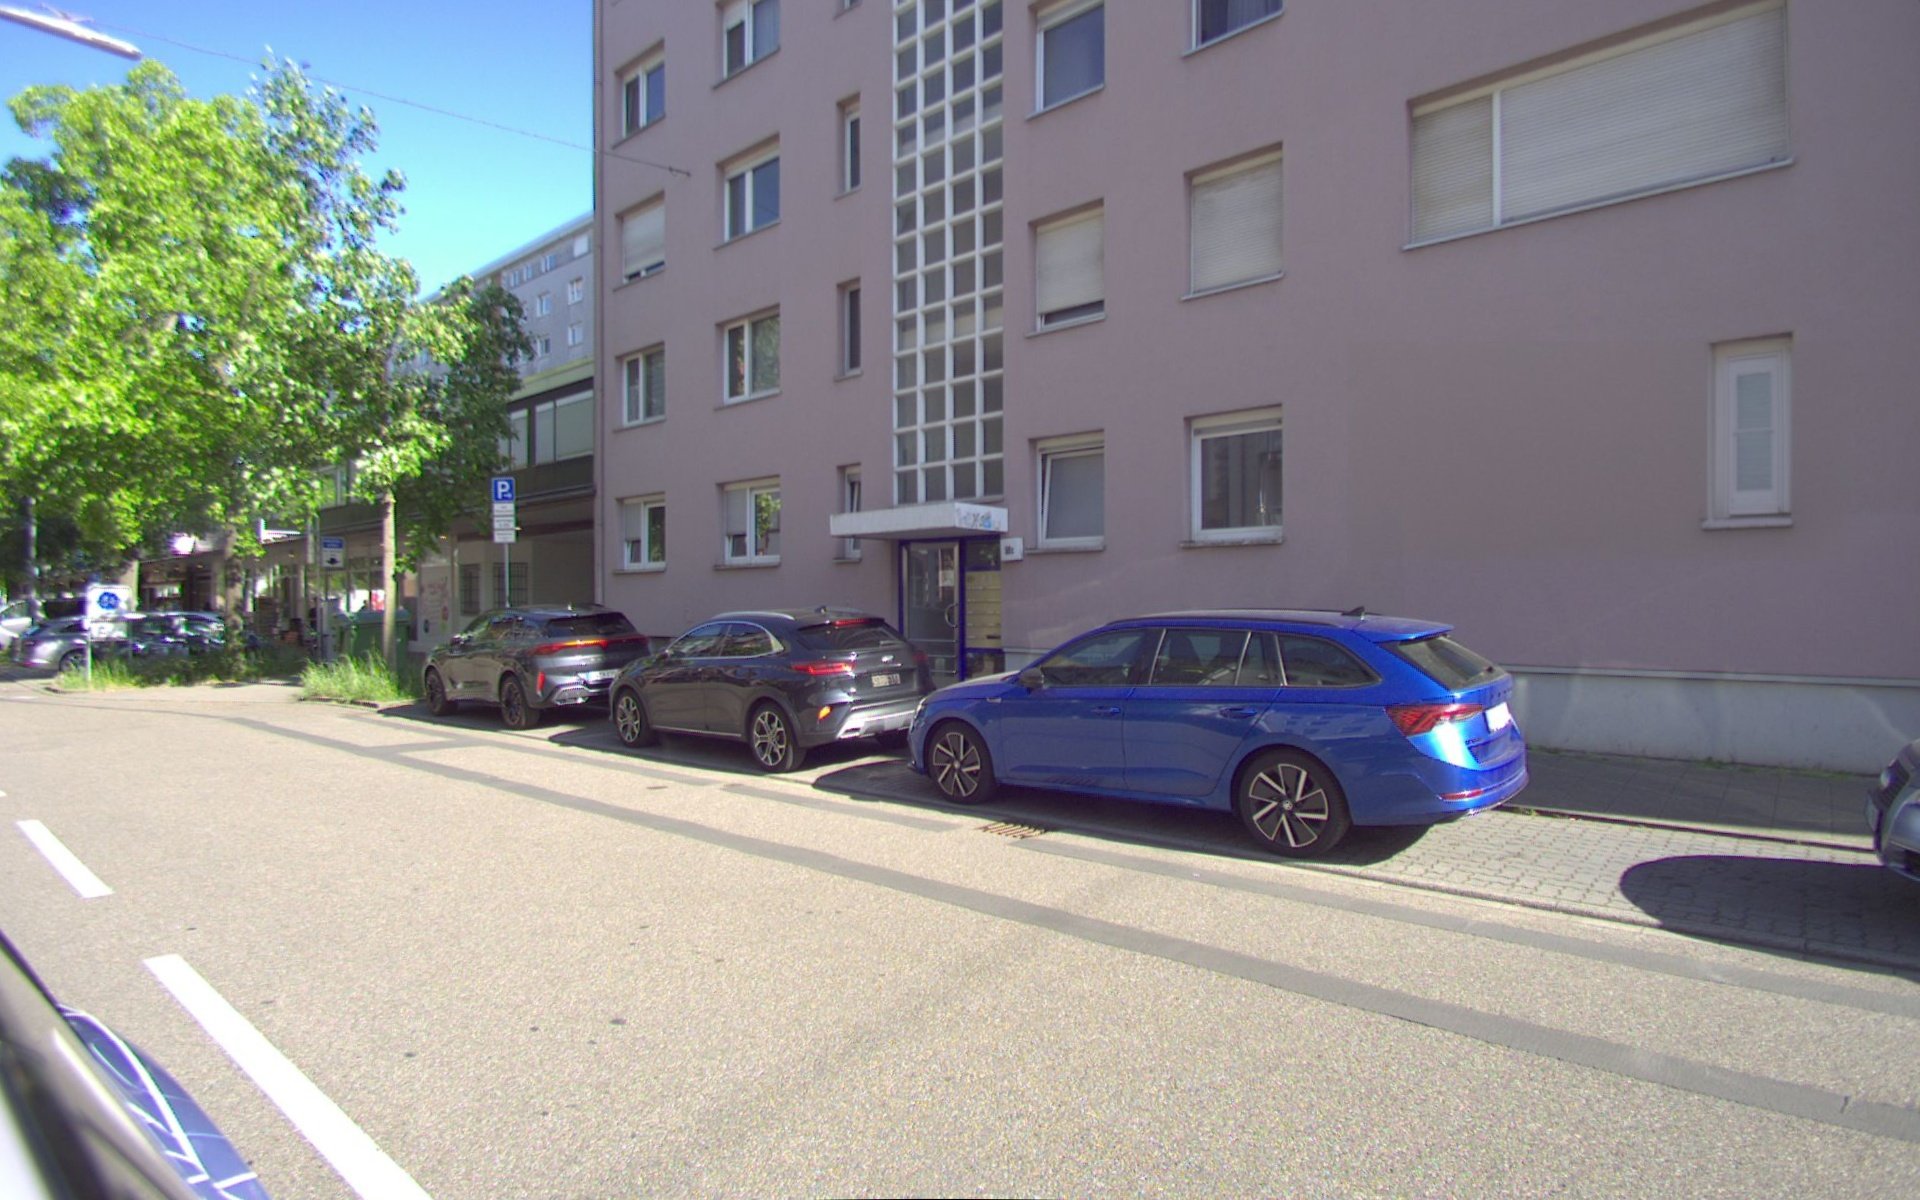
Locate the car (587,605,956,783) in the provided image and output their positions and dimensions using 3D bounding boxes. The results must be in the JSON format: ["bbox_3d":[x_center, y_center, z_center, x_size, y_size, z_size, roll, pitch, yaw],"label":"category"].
[{"bbox_3d":[-2.157,0.846,10.811,4.157,1.478,1.704,-1,1,43],"label":"car"}]

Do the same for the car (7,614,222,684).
[{"bbox_3d":[-20.991,1.144,25.226,1.913,1.564,3.943,-1,-1,43],"label":"car"}]

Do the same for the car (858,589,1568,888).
[{"bbox_3d":[1.585,0.753,7.521,4.797,1.514,1.805,-1,1,40],"label":"car"}]

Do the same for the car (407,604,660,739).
[{"bbox_3d":[-6.156,0.903,14.378,4.157,1.588,1.704,-1,1,43],"label":"car"}]

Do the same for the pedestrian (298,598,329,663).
[{"bbox_3d":[-18.190,0.845,28.476,0.502,1.820,0.615,-1,-1,42],"label":"pedestrian"}]

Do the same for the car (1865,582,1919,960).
[{"bbox_3d":[6.282,0.656,3.347,4.797,1.514,1.805,-1,1,40],"label":"car"}]

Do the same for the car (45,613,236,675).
[{"bbox_3d":[-22.830,1.170,28.270,1.913,1.564,3.943,-1,-1,43],"label":"car"}]

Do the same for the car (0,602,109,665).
[{"bbox_3d":[-31.748,1.112,34.635,1.913,2.058,3.824,-1,-1,43],"label":"car"}]
